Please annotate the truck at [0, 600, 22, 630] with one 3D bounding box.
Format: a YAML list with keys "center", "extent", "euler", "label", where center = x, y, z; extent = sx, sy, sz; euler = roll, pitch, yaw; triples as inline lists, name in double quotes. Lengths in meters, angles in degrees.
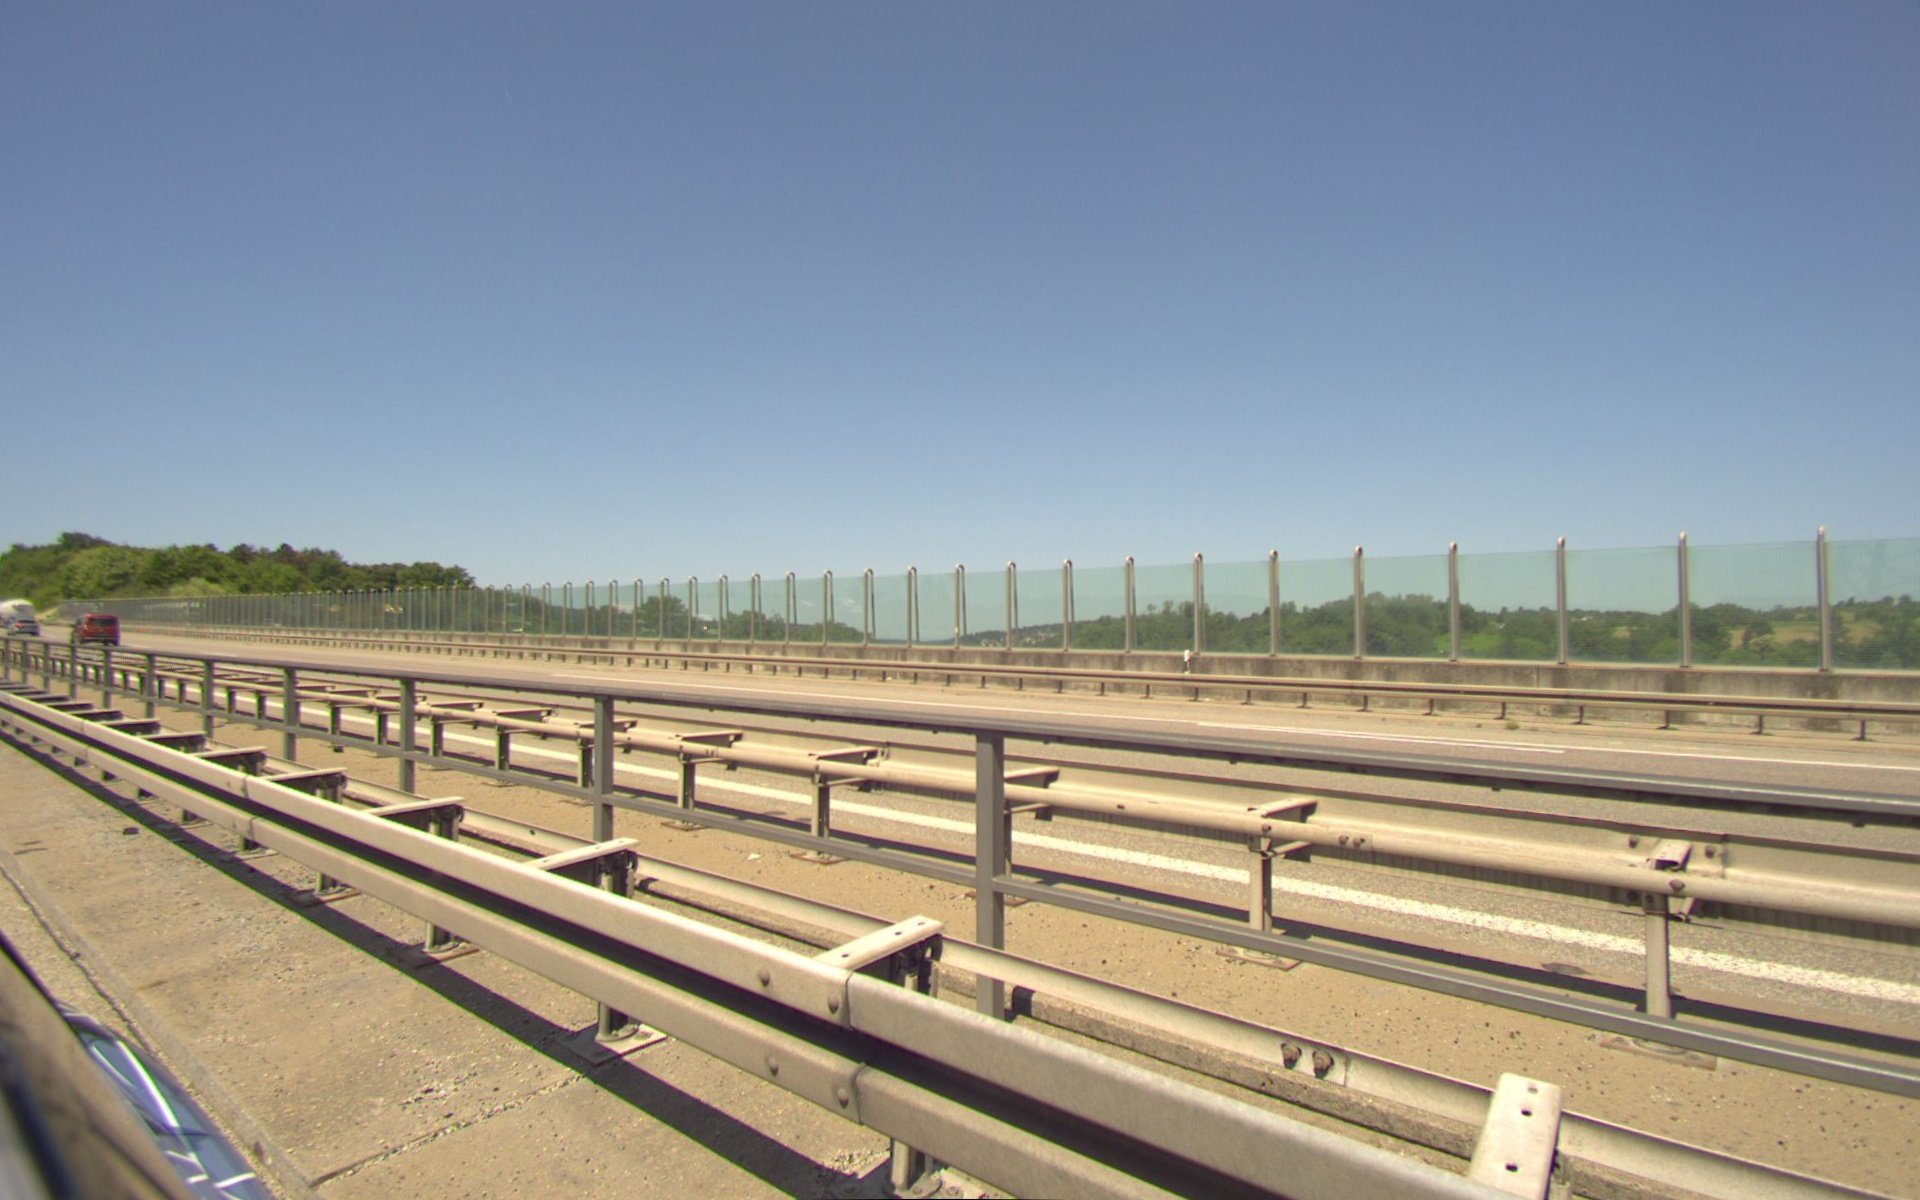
- center: [-116.364, 1.763, 123.261]
  extent: [5.327, 3.562, 2.494]
  euler: [0, -2, 41]
  label: "truck"

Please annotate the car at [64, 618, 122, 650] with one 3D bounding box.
- center: [-51.150, 1.980, 59.673]
  extent: [4.744, 1.836, 1.821]
  euler: [0, -2, 40]
  label: "car"

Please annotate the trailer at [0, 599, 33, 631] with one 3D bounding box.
- center: [-111.847, 1.755, 119.311]
  extent: [10.898, 3.567, 2.472]
  euler: [0, -2, 41]
  label: "trailer"

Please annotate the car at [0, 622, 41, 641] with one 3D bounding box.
- center: [-76.220, 2.527, 82.084]
  extent: [4.382, 1.453, 1.852]
  euler: [-1, -3, 40]
  label: "car"
